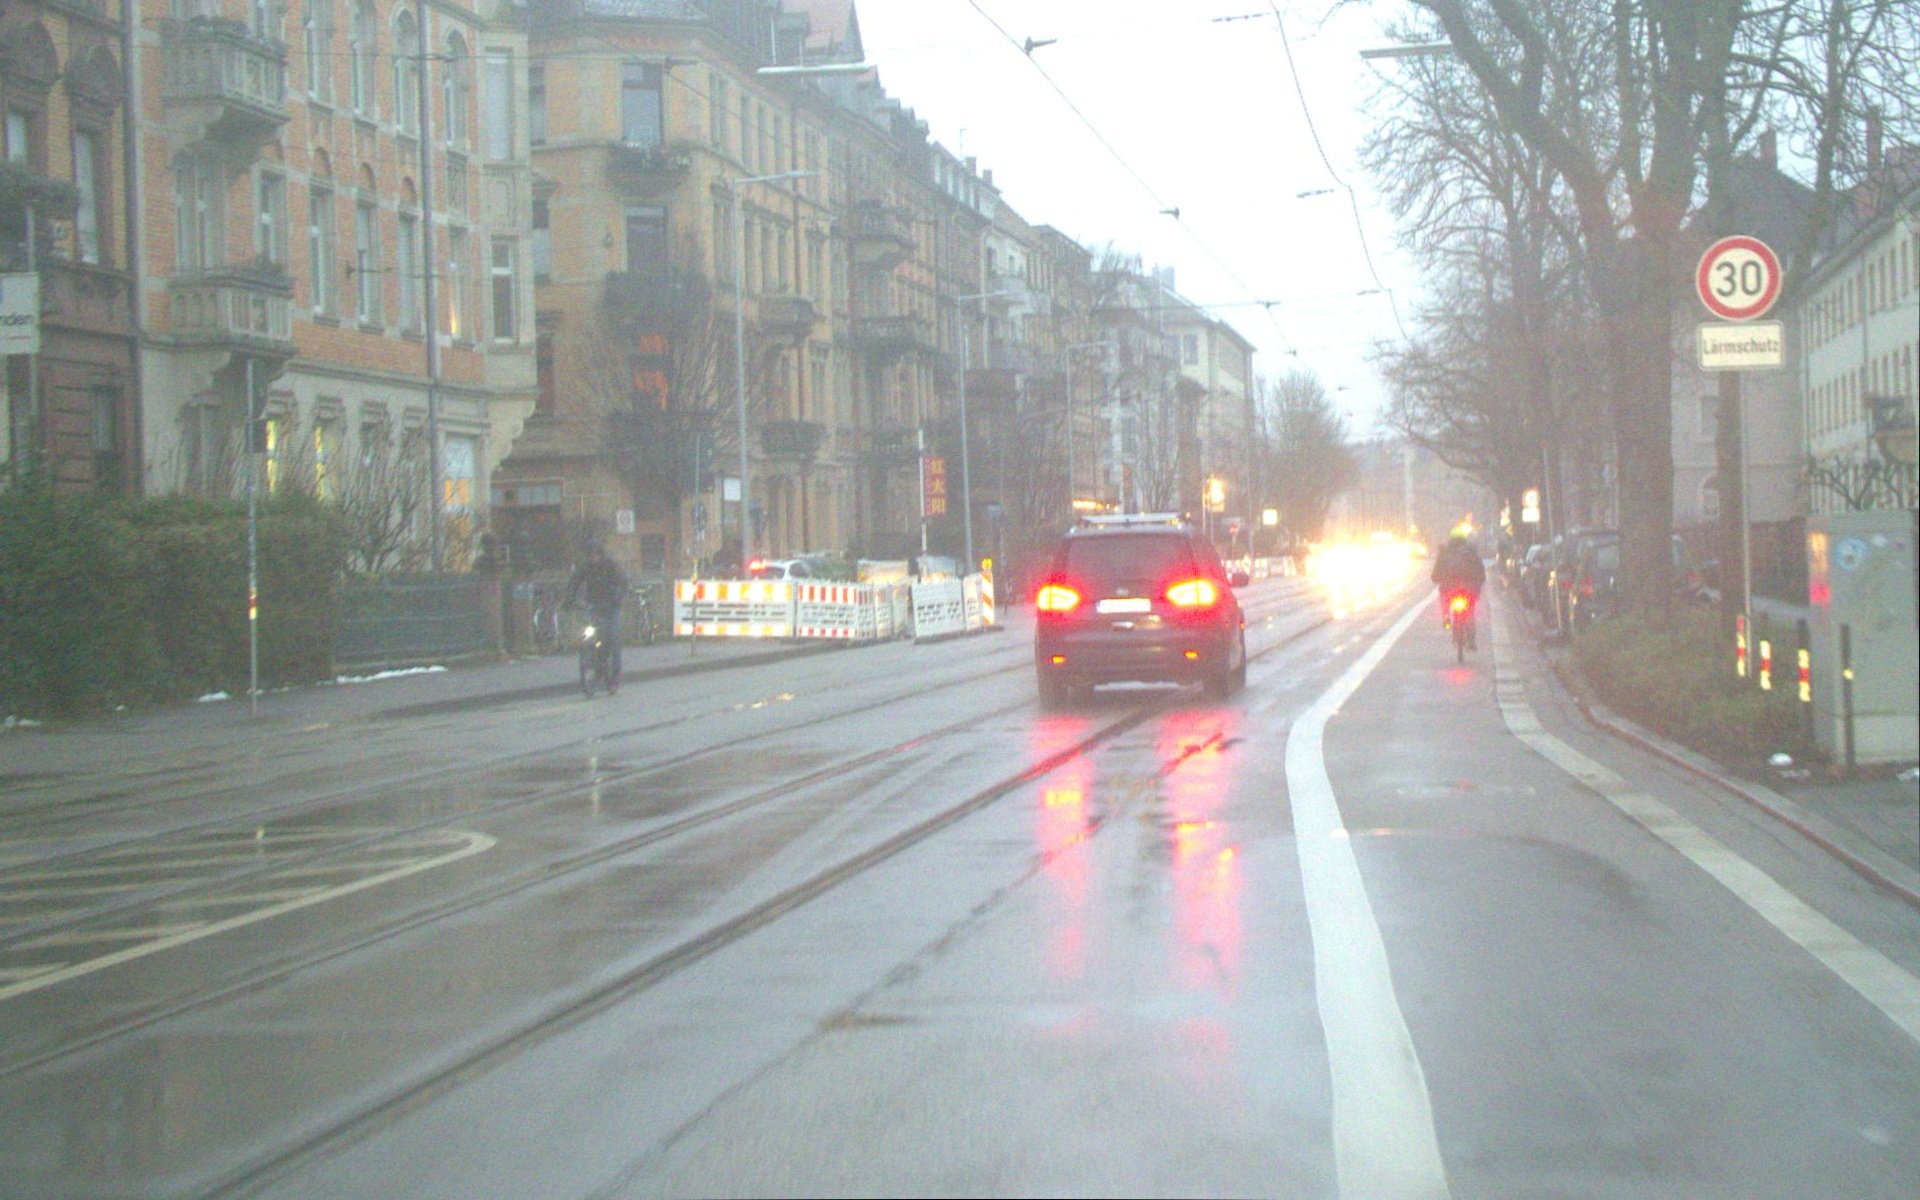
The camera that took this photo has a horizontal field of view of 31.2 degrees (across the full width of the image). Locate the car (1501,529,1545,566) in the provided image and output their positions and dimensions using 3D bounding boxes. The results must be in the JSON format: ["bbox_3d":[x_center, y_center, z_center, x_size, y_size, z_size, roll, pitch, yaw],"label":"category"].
[{"bbox_3d":[24.140,-2.273,147.526,1.786,1.504,4.107,-1,1,9],"label":"car"}]

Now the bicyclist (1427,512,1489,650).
[{"bbox_3d":[6.343,-0.249,43.742,0.731,1.730,0.765,-1,1,10],"label":"bicyclist"}]

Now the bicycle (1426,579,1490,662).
[{"bbox_3d":[6.340,0.247,43.707,0.732,1.003,1.763,-1,1,10],"label":"bicycle"}]

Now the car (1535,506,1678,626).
[{"bbox_3d":[9.887,-0.539,52.888,1.906,1.721,4.901,-1,1,8],"label":"car"}]

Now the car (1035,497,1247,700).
[{"bbox_3d":[1.863,-0.059,34.362,1.802,1.864,4.017,1,1,7],"label":"car"}]

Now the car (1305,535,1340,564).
[{"bbox_3d":[22.272,-3.104,211.059,1.924,1.714,3.999,-1,1,9],"label":"car"}]

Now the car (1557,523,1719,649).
[{"bbox_3d":[8.648,-0.206,44.092,1.786,1.504,3.986,-1,1,8],"label":"car"}]

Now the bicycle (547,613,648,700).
[{"bbox_3d":[-4.315,0.660,41.050,0.678,0.969,1.932,-1,1,10],"label":"bicycle"}]

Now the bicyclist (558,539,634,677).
[{"bbox_3d":[-4.332,0.090,40.968,0.684,1.610,0.765,-1,1,10],"label":"bicyclist"}]

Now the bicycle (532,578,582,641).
[{"bbox_3d":[-6.218,0.141,53.111,0.263,0.912,1.685,4,2,8],"label":"bicycle"}]

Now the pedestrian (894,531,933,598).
[{"bbox_3d":[-1.231,-0.946,91.523,0.718,1.767,0.770,-2,1,-30],"label":"pedestrian"}]
